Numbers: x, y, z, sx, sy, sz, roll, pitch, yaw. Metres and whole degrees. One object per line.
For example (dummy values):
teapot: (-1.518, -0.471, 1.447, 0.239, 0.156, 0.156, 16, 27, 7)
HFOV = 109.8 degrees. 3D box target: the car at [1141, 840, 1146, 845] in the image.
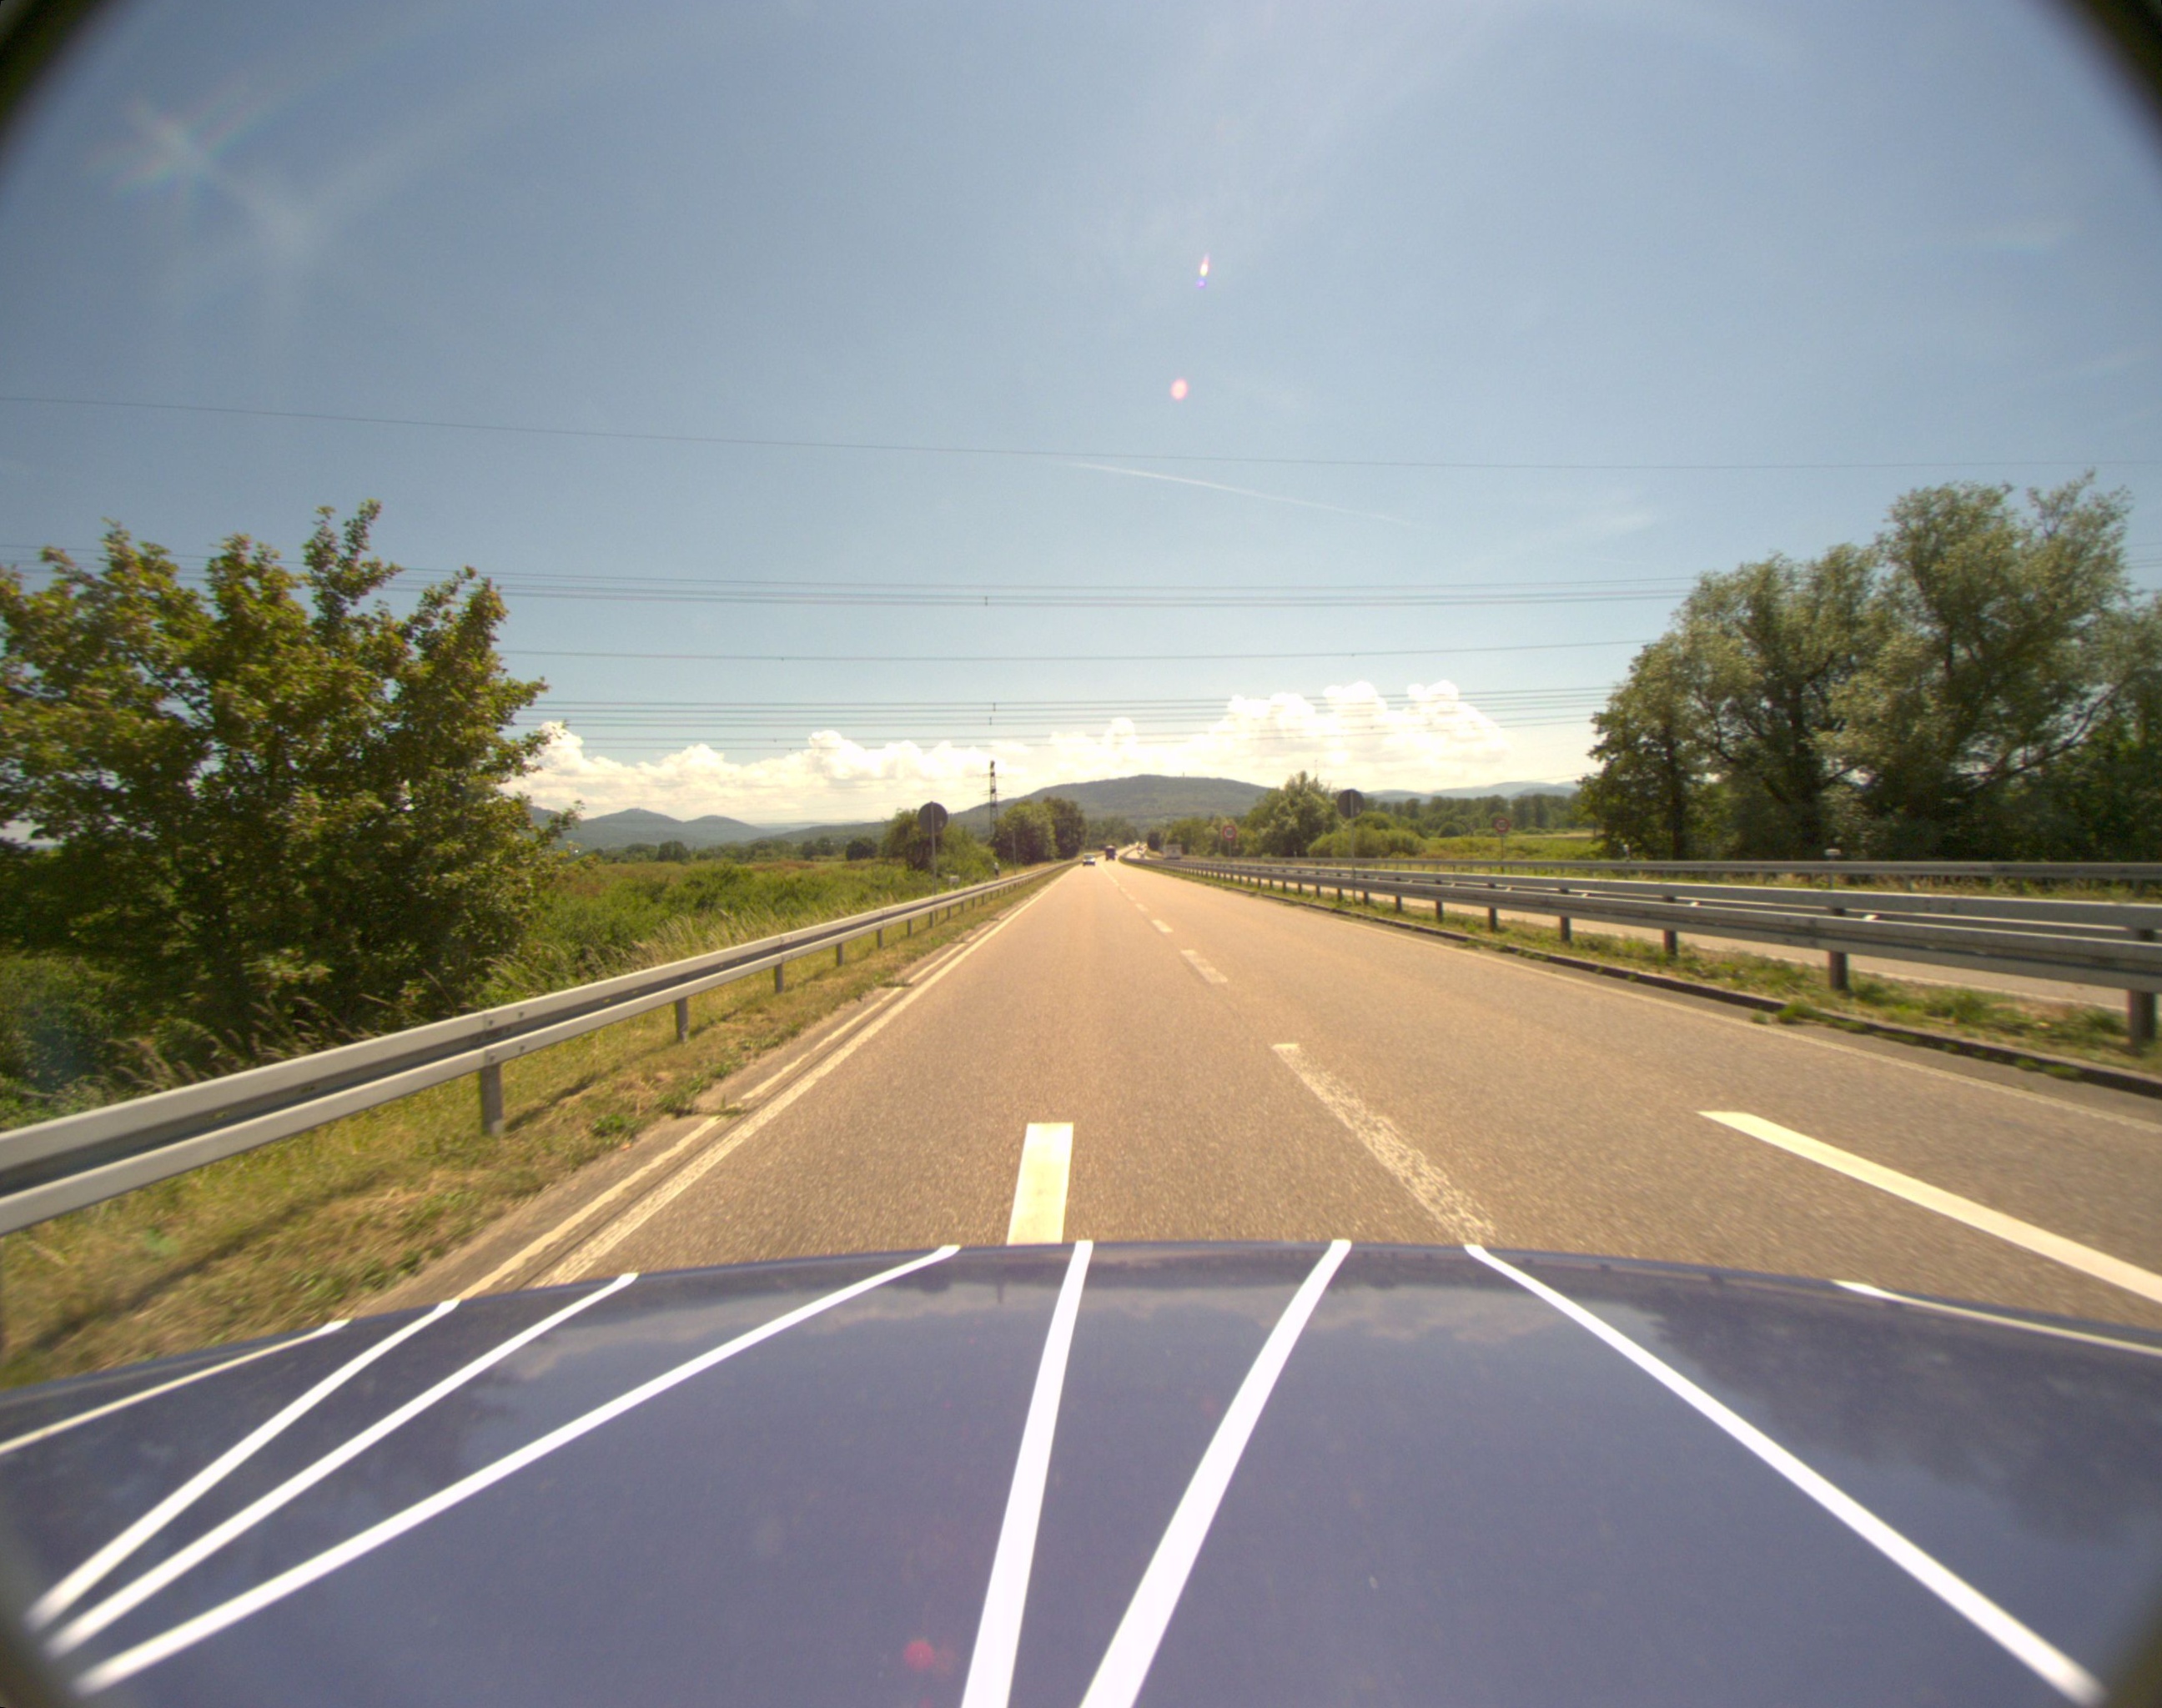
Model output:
car: (20.492, -3.733, 249.492, 1.536, 1.441, 3.701, -2, 1, 2)

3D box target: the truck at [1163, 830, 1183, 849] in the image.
truck: (16.187, -2.556, 134.161, 2.725, 3.175, 8.404, -1, 1, 1)

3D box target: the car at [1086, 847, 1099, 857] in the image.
car: (1.692, -0.302, 109.603, 1.577, 1.387, 3.486, -2, 1, 5)

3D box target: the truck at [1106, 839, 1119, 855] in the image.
truck: (8.359, -1.877, 202.378, 2.826, 4.143, 9.949, -2, 1, 5)
